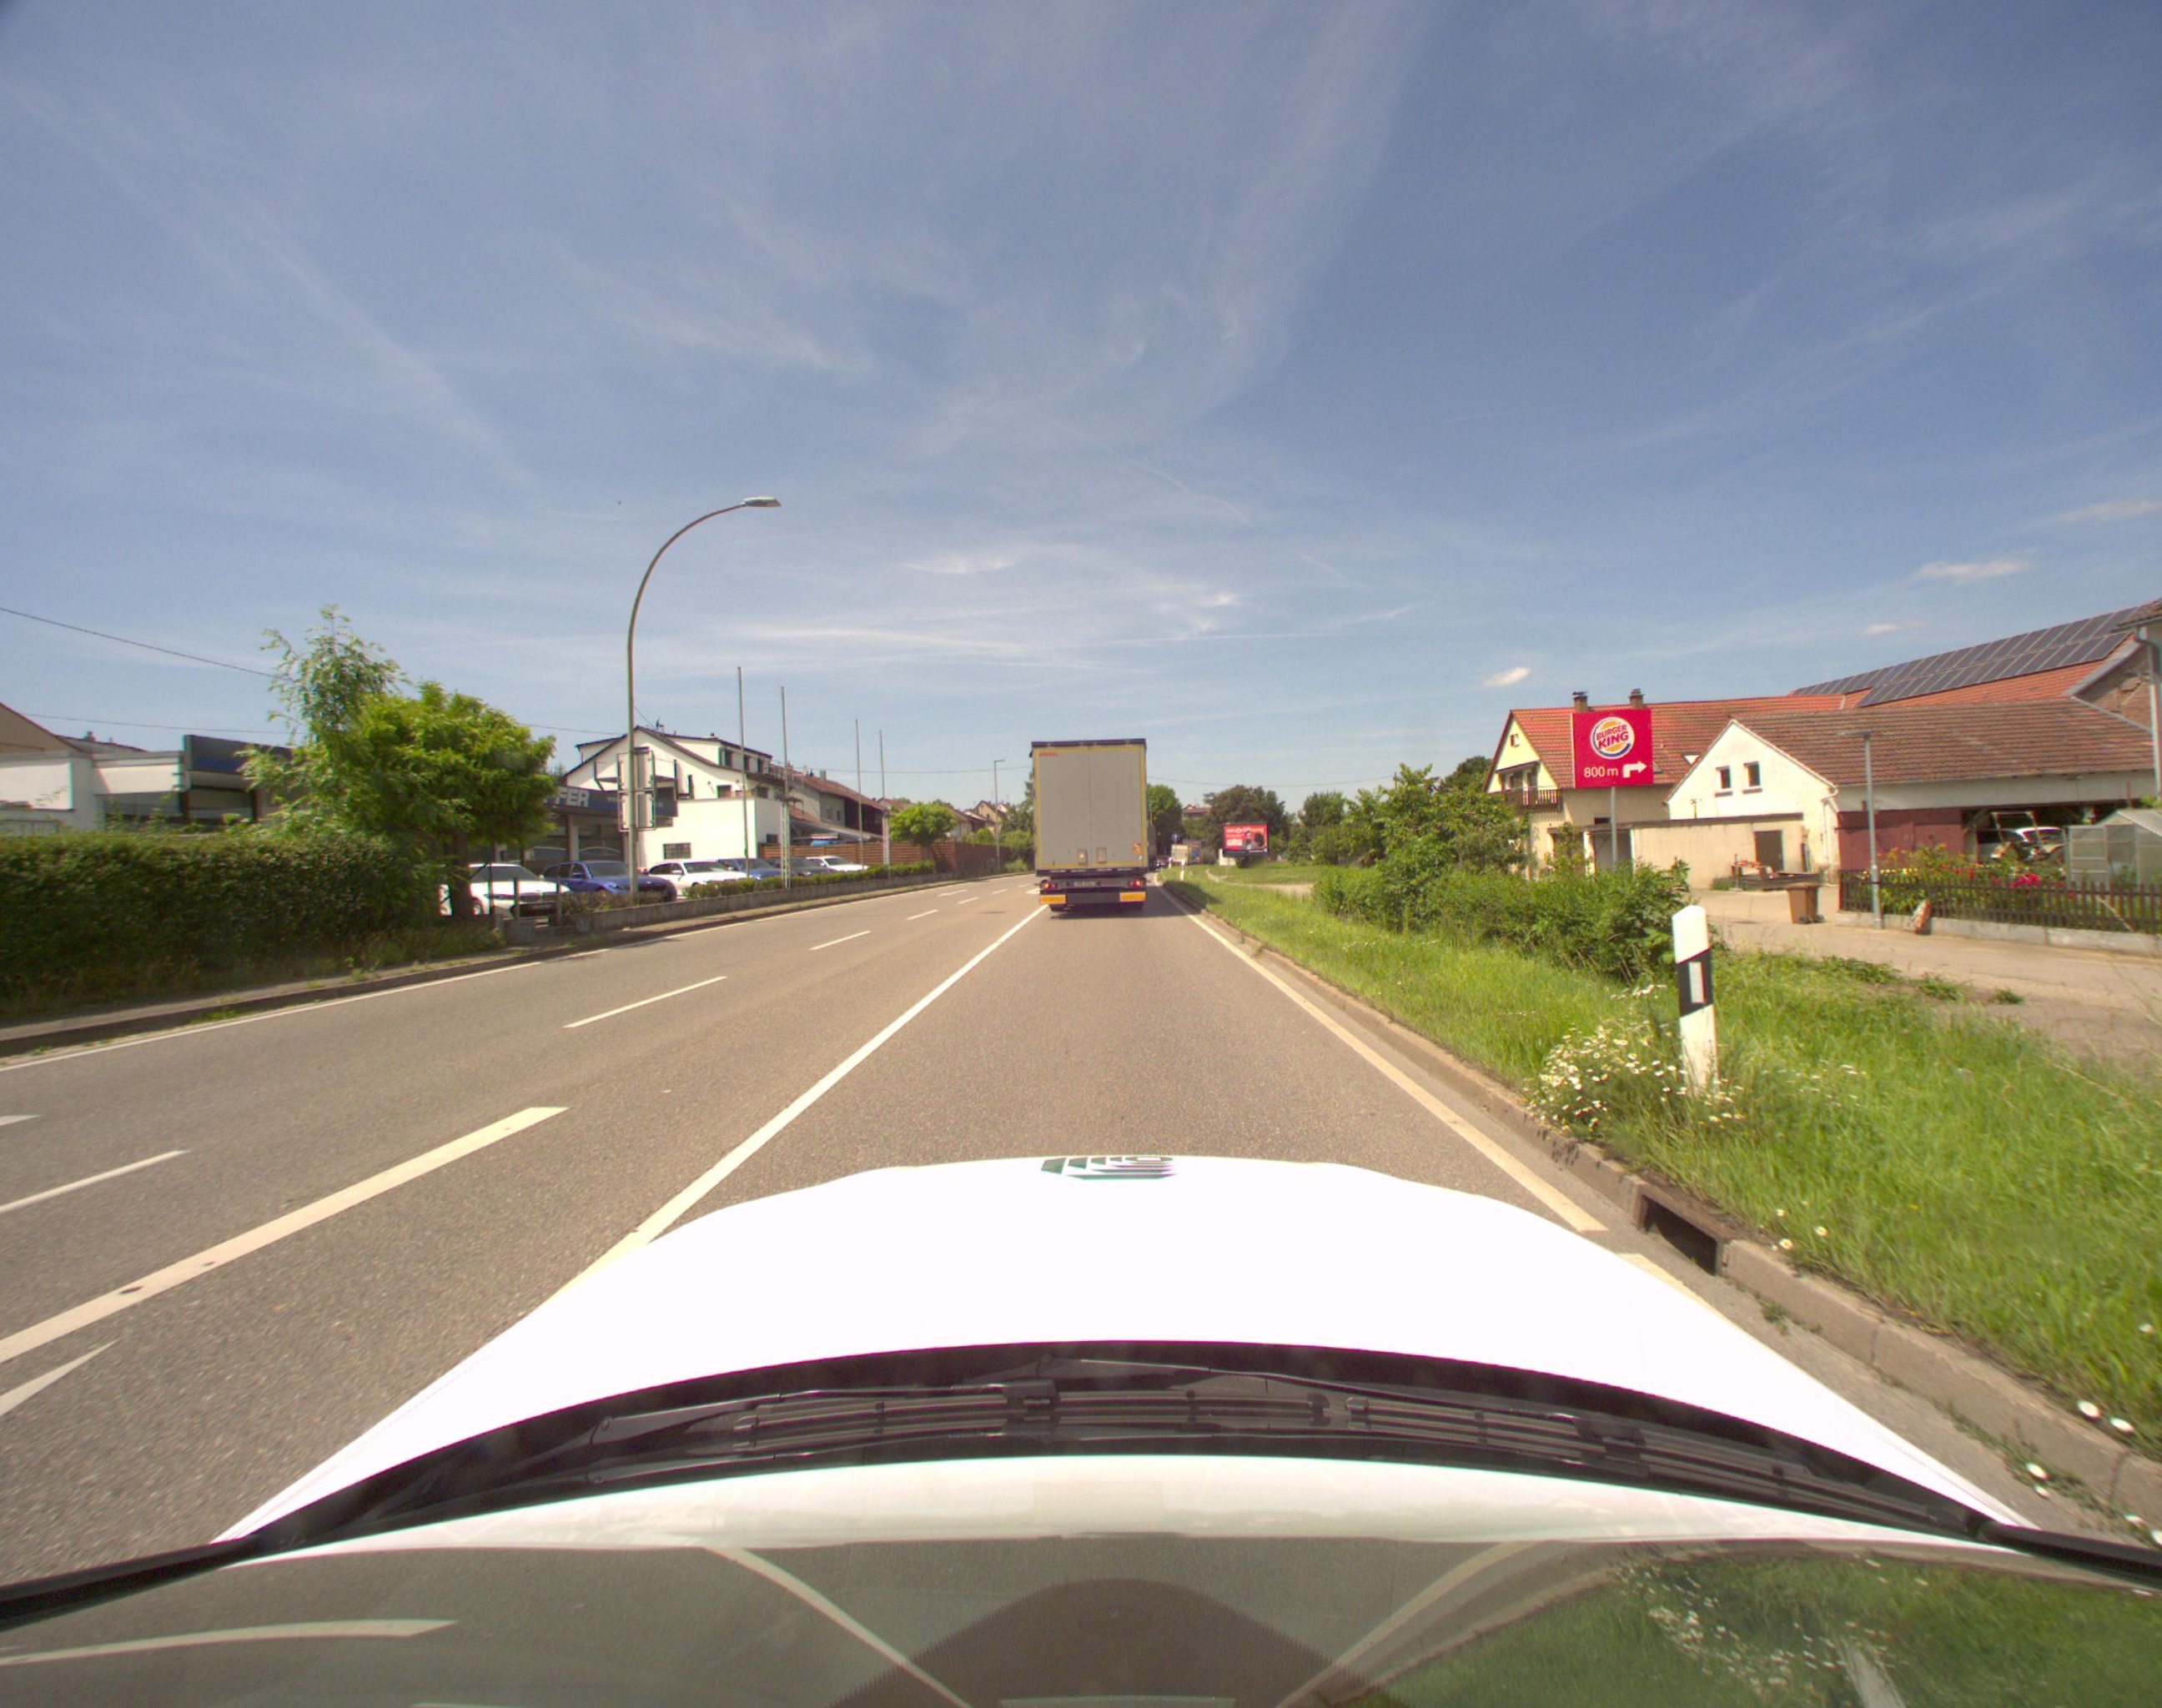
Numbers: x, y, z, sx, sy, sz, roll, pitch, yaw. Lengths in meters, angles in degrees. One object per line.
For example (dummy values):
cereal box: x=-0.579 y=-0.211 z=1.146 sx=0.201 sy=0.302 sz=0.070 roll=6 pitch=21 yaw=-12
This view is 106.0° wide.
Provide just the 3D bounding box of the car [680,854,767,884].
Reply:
car: x=-19.137 y=0.795 z=43.640 sx=3.956 sy=1.510 sz=1.843 roll=-1 pitch=0 yaw=16

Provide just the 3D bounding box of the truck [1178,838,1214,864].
truck: x=16.817 y=-0.427 z=118.645 sx=3.405 sy=3.604 sz=9.399 roll=-1 pitch=0 yaw=19

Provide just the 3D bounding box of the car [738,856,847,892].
car: x=-12.224 y=0.825 z=34.461 sx=4.287 sy=1.447 sz=1.910 roll=-1 pitch=-1 yaw=28

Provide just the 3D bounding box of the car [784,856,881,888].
car: x=-11.651 y=0.851 z=38.165 sx=4.287 sy=1.447 sz=1.868 roll=-1 pitch=-1 yaw=28

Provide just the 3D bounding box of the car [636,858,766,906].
car: x=-12.502 y=0.874 z=26.684 sx=4.457 sy=1.447 sz=1.869 roll=-1 pitch=0 yaw=35

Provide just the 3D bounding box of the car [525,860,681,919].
car: x=-13.057 y=0.925 z=22.185 sx=4.286 sy=1.447 sz=1.869 roll=-1 pitch=-1 yaw=32

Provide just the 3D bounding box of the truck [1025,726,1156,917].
truck: x=0.467 y=-0.693 z=23.399 sx=2.811 sy=4.127 sz=11.450 roll=-1 pitch=0 yaw=3

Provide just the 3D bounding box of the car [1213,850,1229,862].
car: x=23.913 y=0.398 z=139.005 sx=1.977 sy=2.014 sz=4.019 roll=-1 pitch=-1 yaw=19

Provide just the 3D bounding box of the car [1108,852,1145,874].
car: x=2.993 y=0.567 z=52.903 sx=1.807 sy=1.346 sz=3.859 roll=-1 pitch=-1 yaw=11

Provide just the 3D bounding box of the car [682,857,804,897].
car: x=-12.770 y=0.862 z=30.744 sx=4.288 sy=1.447 sz=1.868 roll=-1 pitch=-1 yaw=27

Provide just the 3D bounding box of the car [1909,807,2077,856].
car: x=32.486 y=-0.757 z=29.197 sx=1.746 sy=1.618 sz=4.004 roll=-1 pitch=0 yaw=4

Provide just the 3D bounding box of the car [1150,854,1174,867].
car: x=9.332 y=0.774 z=93.523 sx=1.979 sy=1.376 sz=4.016 roll=-1 pitch=-1 yaw=15

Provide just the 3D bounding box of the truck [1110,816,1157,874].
truck: x=4.706 y=-0.561 z=69.192 sx=2.745 sy=4.289 sz=16.450 roll=-1 pitch=-1 yaw=8

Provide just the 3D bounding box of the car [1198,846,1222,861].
car: x=20.598 y=-0.042 z=129.773 sx=2.511 sy=2.277 sz=6.412 roll=-1 pitch=0 yaw=19

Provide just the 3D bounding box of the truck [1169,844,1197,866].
truck: x=13.376 y=0.162 z=106.866 sx=2.523 sy=2.803 sz=6.059 roll=-1 pitch=-1 yaw=18

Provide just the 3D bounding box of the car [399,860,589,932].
car: x=-13.298 y=0.896 z=18.374 sx=4.521 sy=1.447 sz=1.869 roll=-1 pitch=-1 yaw=32

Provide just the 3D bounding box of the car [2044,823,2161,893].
car: x=27.903 y=0.041 z=20.876 sx=3.929 sy=1.693 sz=1.847 roll=-3 pitch=-1 yaw=5

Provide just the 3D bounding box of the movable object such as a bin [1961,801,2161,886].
movable object such as a bin: x=30.225 y=-0.312 z=25.137 sx=3.690 sy=2.343 sz=2.083 roll=-3 pitch=1 yaw=6
